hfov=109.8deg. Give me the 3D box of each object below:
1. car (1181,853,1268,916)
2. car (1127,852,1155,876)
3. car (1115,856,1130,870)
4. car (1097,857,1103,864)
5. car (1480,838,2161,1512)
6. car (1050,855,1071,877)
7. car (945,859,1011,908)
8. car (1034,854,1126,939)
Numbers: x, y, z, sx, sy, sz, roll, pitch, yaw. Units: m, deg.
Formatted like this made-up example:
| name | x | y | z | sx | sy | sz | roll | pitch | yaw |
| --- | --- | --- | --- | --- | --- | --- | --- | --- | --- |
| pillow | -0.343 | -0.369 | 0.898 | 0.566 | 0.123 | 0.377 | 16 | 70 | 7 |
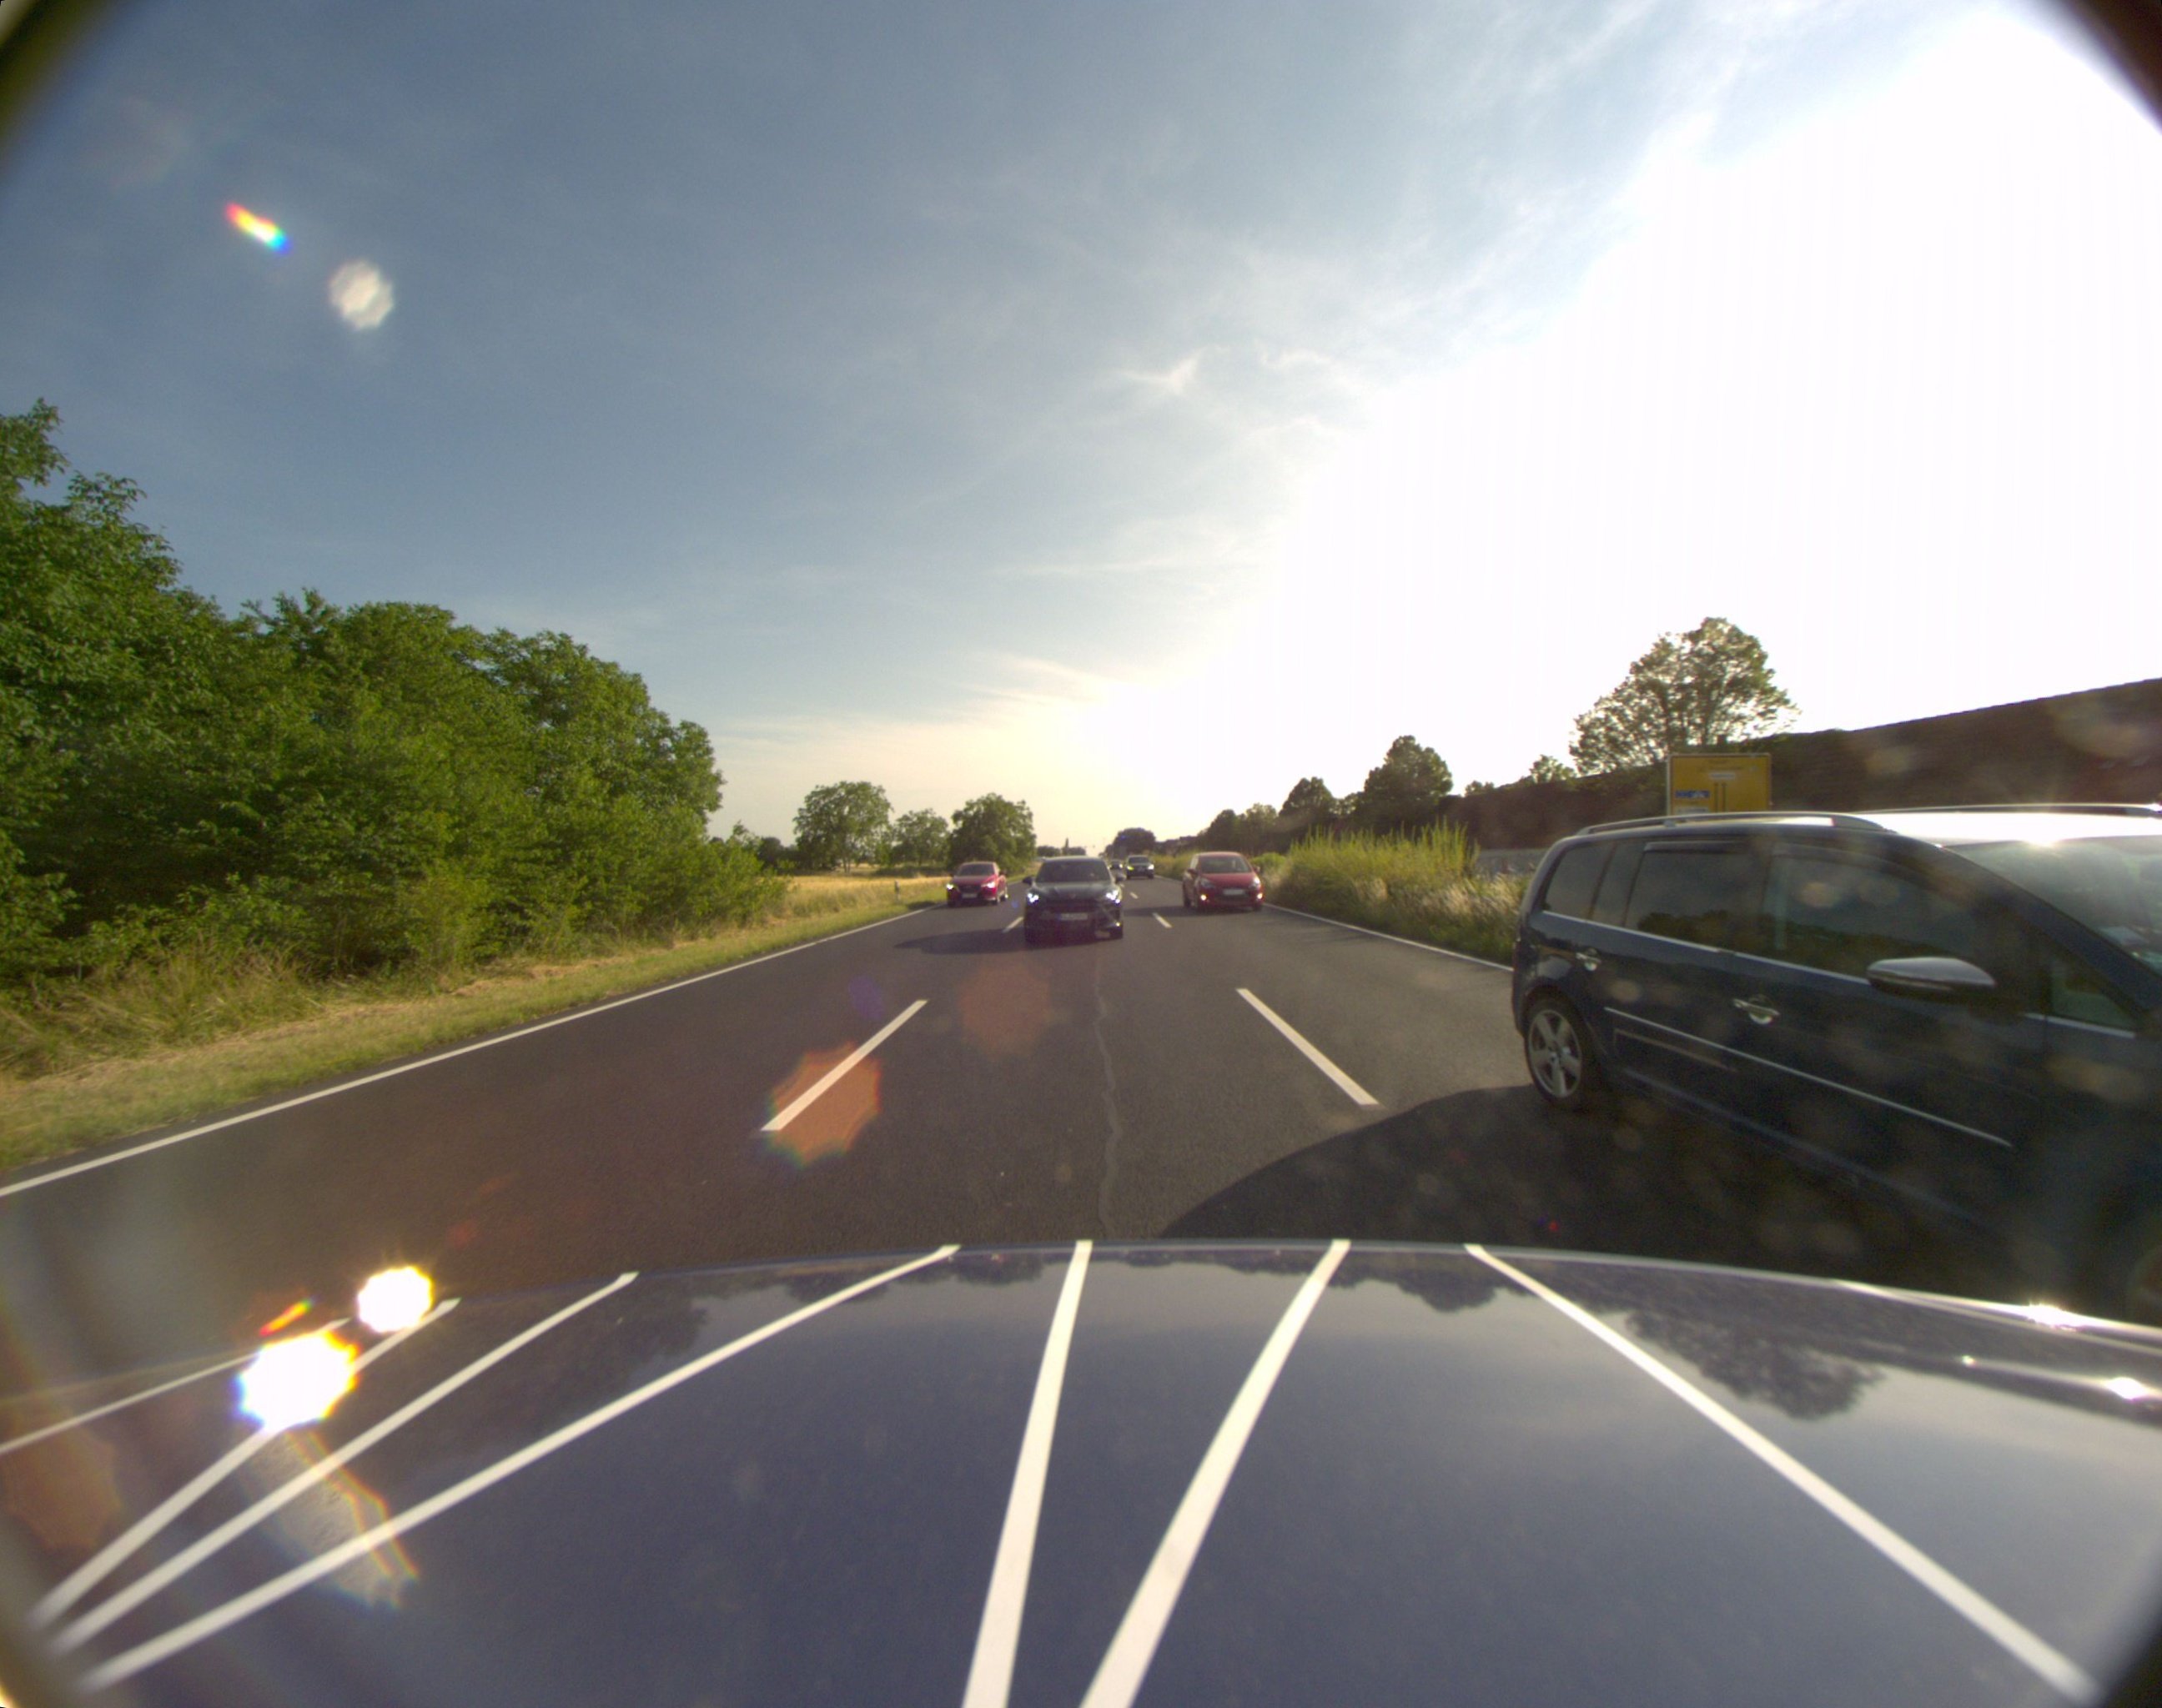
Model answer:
| name | x | y | z | sx | sy | sz | roll | pitch | yaw |
| --- | --- | --- | --- | --- | --- | --- | --- | --- | --- |
| car | 3.958 | 0.786 | 21.579 | 1.748 | 1.537 | 4.000 | -2 | 1 | 1 |
| car | 4.287 | 0.689 | 54.687 | 1.719 | 1.521 | 4.000 | -2 | 1 | 1 |
| car | 5.809 | 1.274 | 106.187 | 1.918 | 1.871 | 4.000 | -2 | 1 | 1 |
| car | 5.878 | 2.029 | 236.023 | 1.998 | 2.002 | 4.000 | -2 | 1 | 1 |
| car | 3.520 | 0.763 | 2.758 | 1.777 | 1.612 | 4.682 | -1 | 1 | 1 |
| car | -2.082 | 1.190 | 77.597 | 1.999 | 2.002 | 3.999 | -2 | 1 | -2 |
| car | -3.675 | 1.007 | 27.760 | 1.708 | 1.497 | 4.500 | -2 | 1 | 0 |
| car | 0.029 | 0.846 | 17.380 | 1.791 | 1.594 | 4.339 | -2 | 1 | 1 |
